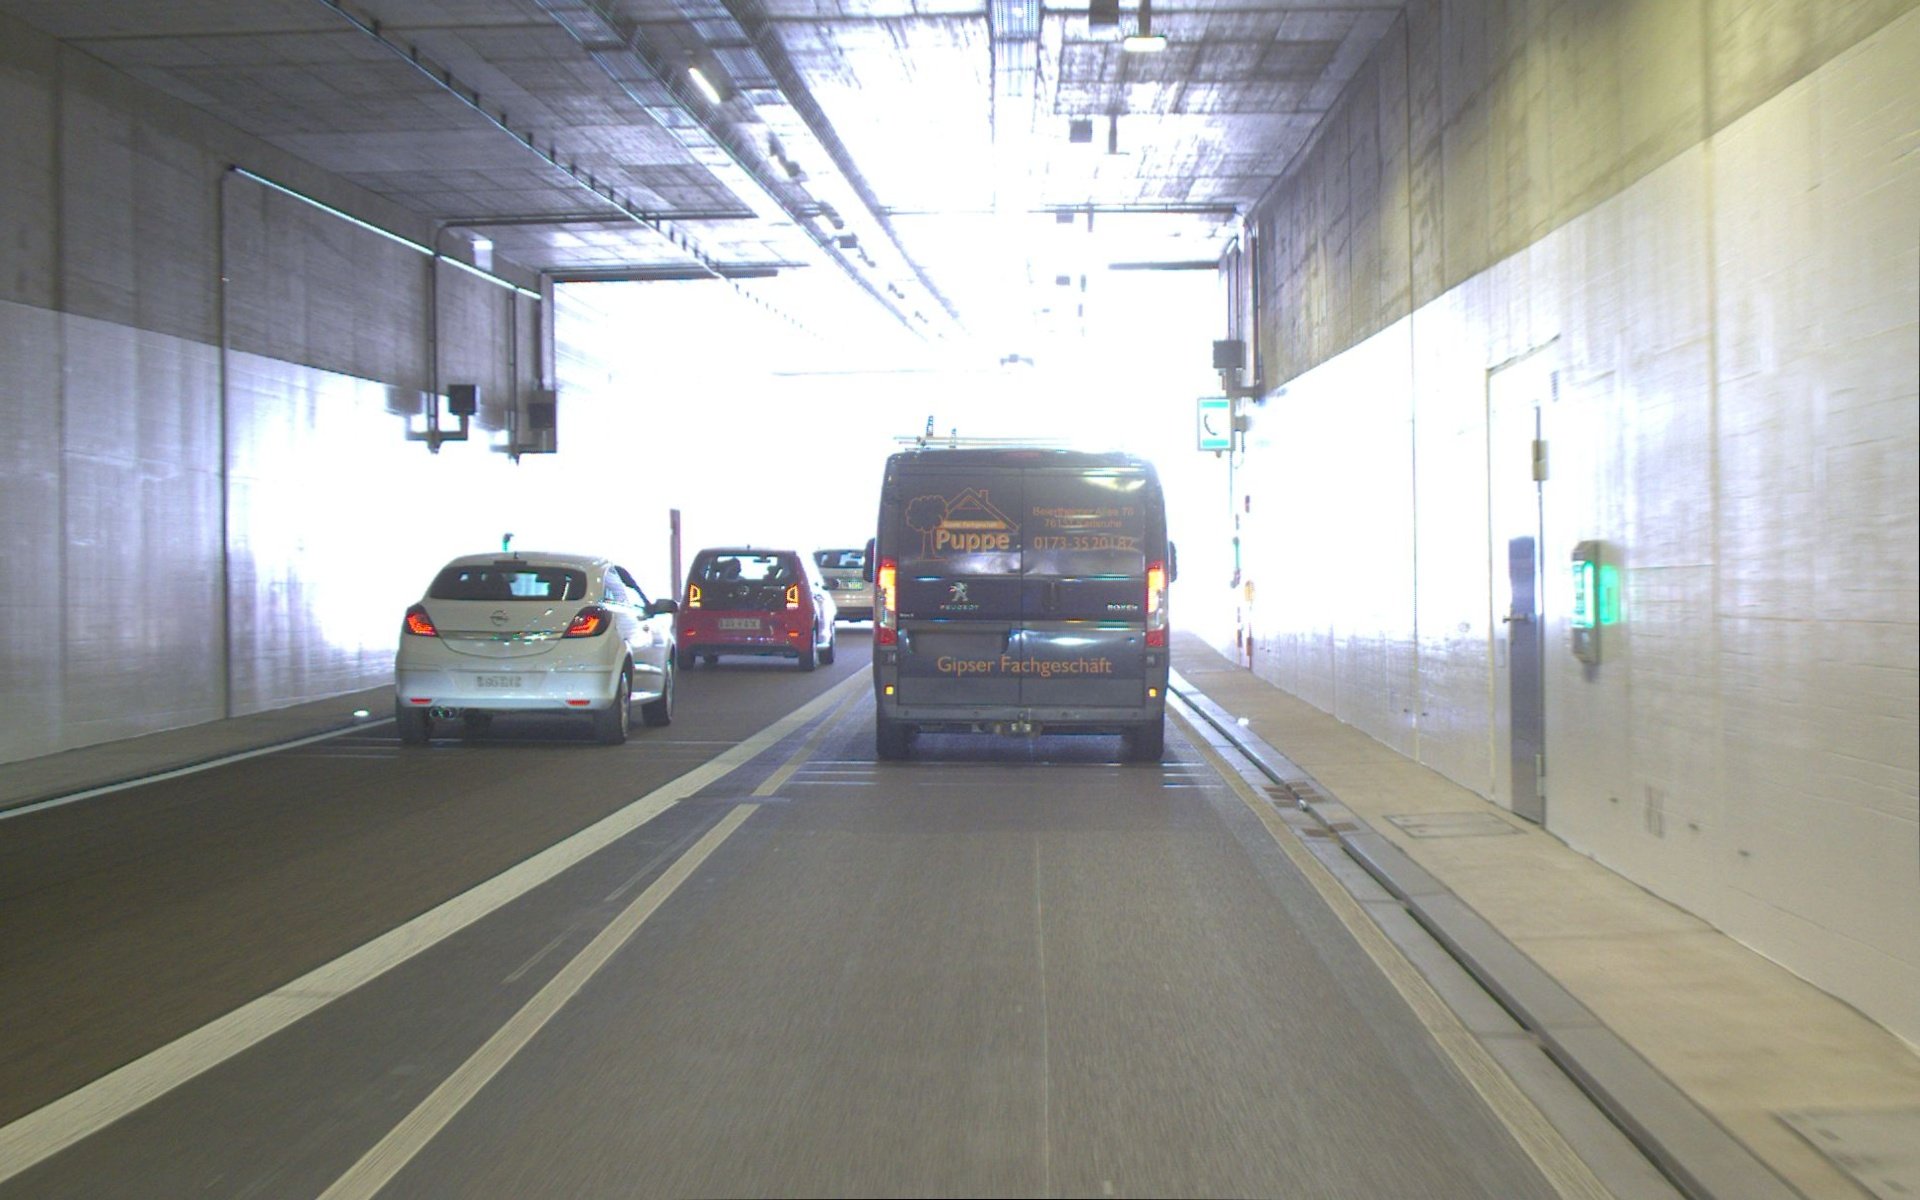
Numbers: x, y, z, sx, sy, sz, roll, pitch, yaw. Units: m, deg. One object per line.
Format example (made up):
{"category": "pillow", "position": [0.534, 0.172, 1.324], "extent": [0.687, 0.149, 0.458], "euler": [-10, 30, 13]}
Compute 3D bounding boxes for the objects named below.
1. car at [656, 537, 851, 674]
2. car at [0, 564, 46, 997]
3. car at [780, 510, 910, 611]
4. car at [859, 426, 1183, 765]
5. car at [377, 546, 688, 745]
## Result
{"category": "car", "position": [-2.434, 0.024, 41.419], "extent": [1.815, 1.507, 4.220], "euler": [1, 1, 4]}
{"category": "car", "position": [-4.098, 0.608, 9.266], "extent": [1.696, 1.417, 4.851], "euler": [2, 1, 3]}
{"category": "car", "position": [-1.852, -0.626, 56.678], "extent": [1.876, 1.576, 4.220], "euler": [1, 0, 1]}
{"category": "car", "position": [0.482, -0.095, 25.452], "extent": [2.158, 2.258, 4.637], "euler": [1, 2, 2]}
{"category": "car", "position": [-3.231, 0.303, 26.691], "extent": [1.709, 1.408, 3.974], "euler": [1, 1, 3]}
